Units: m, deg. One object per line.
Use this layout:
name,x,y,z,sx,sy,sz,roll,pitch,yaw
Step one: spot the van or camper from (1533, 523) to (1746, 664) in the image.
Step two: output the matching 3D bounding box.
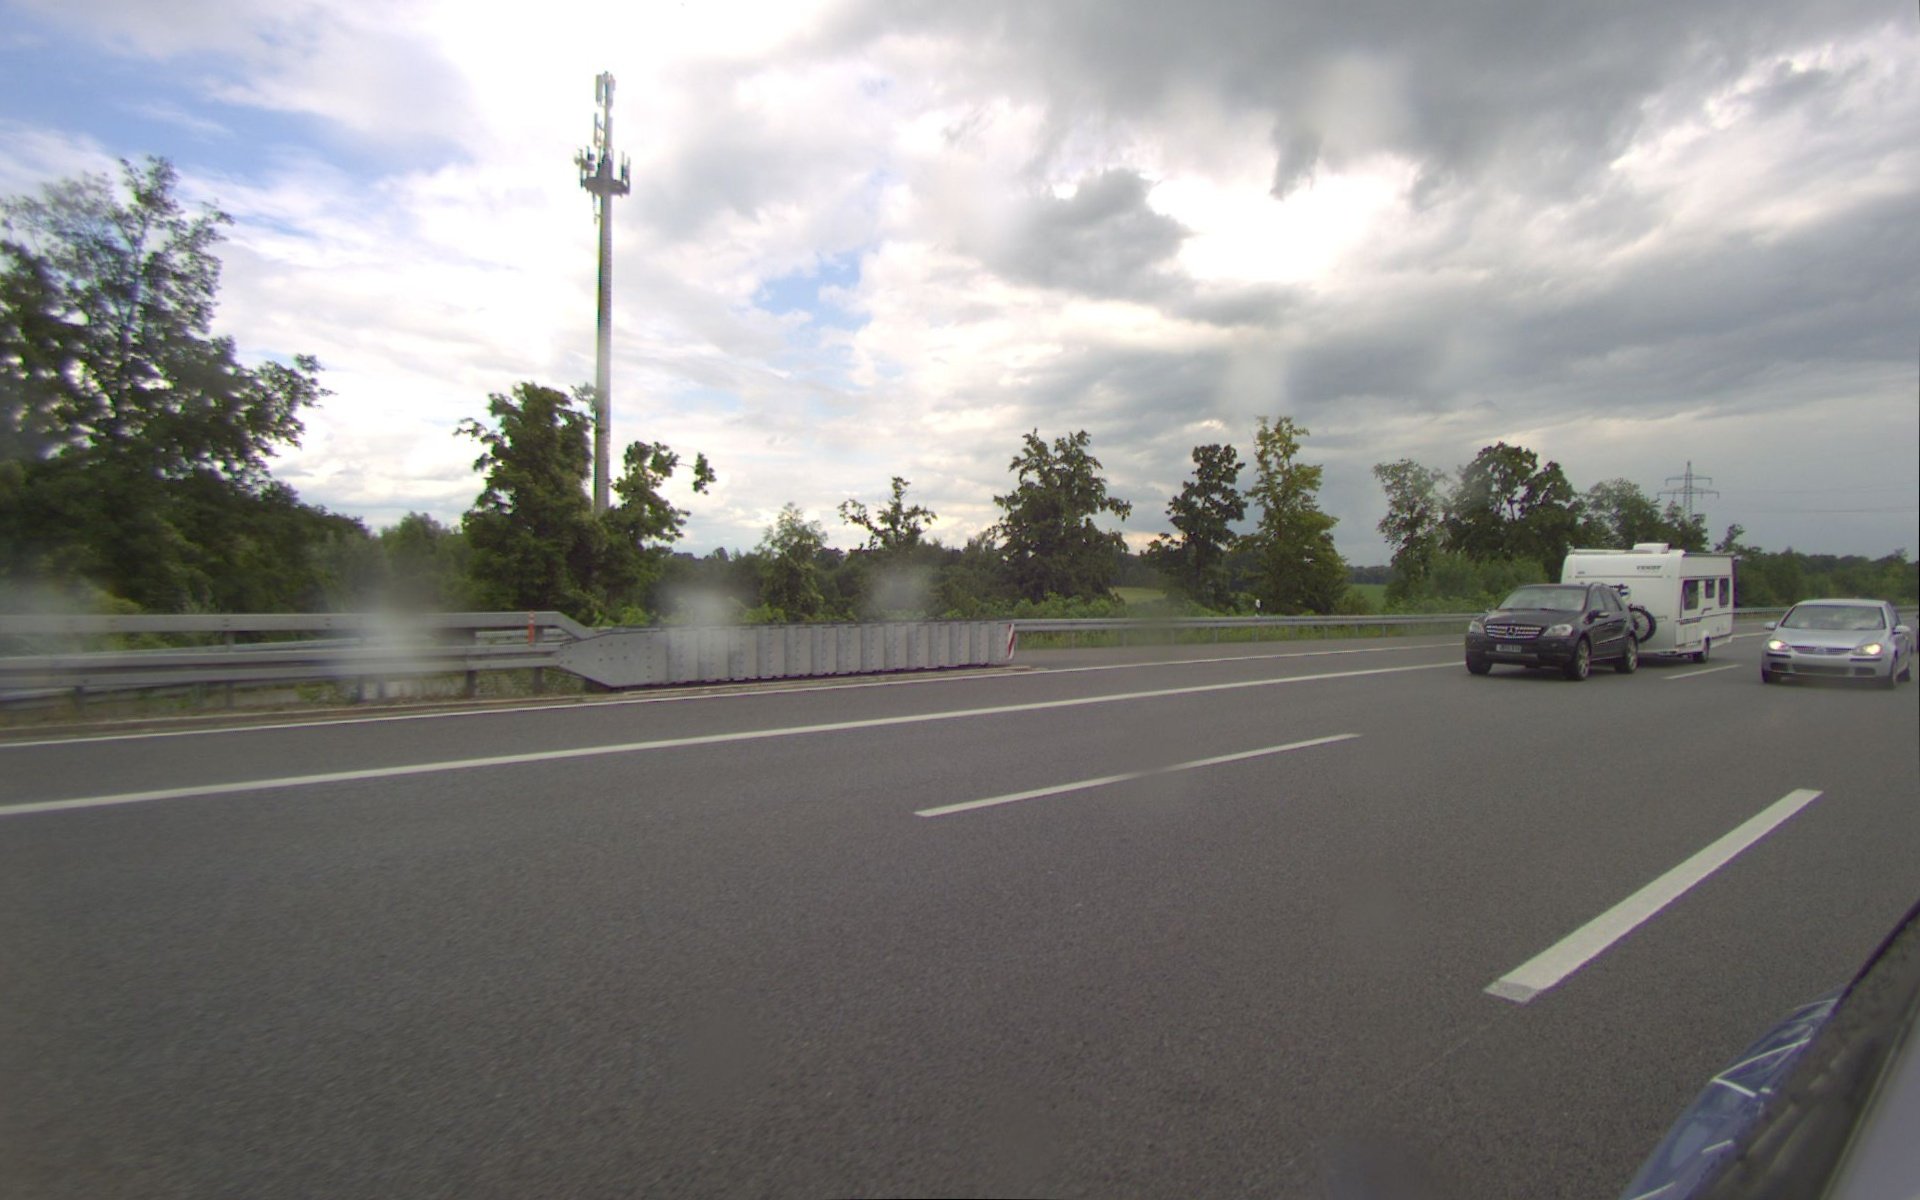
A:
van or camper,15.706,-0.136,23.167,7.085,2.773,2.387,0,0,-42

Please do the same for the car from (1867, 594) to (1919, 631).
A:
car,39.801,0.492,42.745,3.931,1.464,1.839,0,0,-42

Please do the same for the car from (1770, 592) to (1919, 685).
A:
car,15.818,0.595,17.933,3.931,1.464,1.681,0,0,-42

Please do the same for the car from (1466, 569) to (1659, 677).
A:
car,11.497,0.369,19.194,4.425,1.798,1.923,0,0,-42
